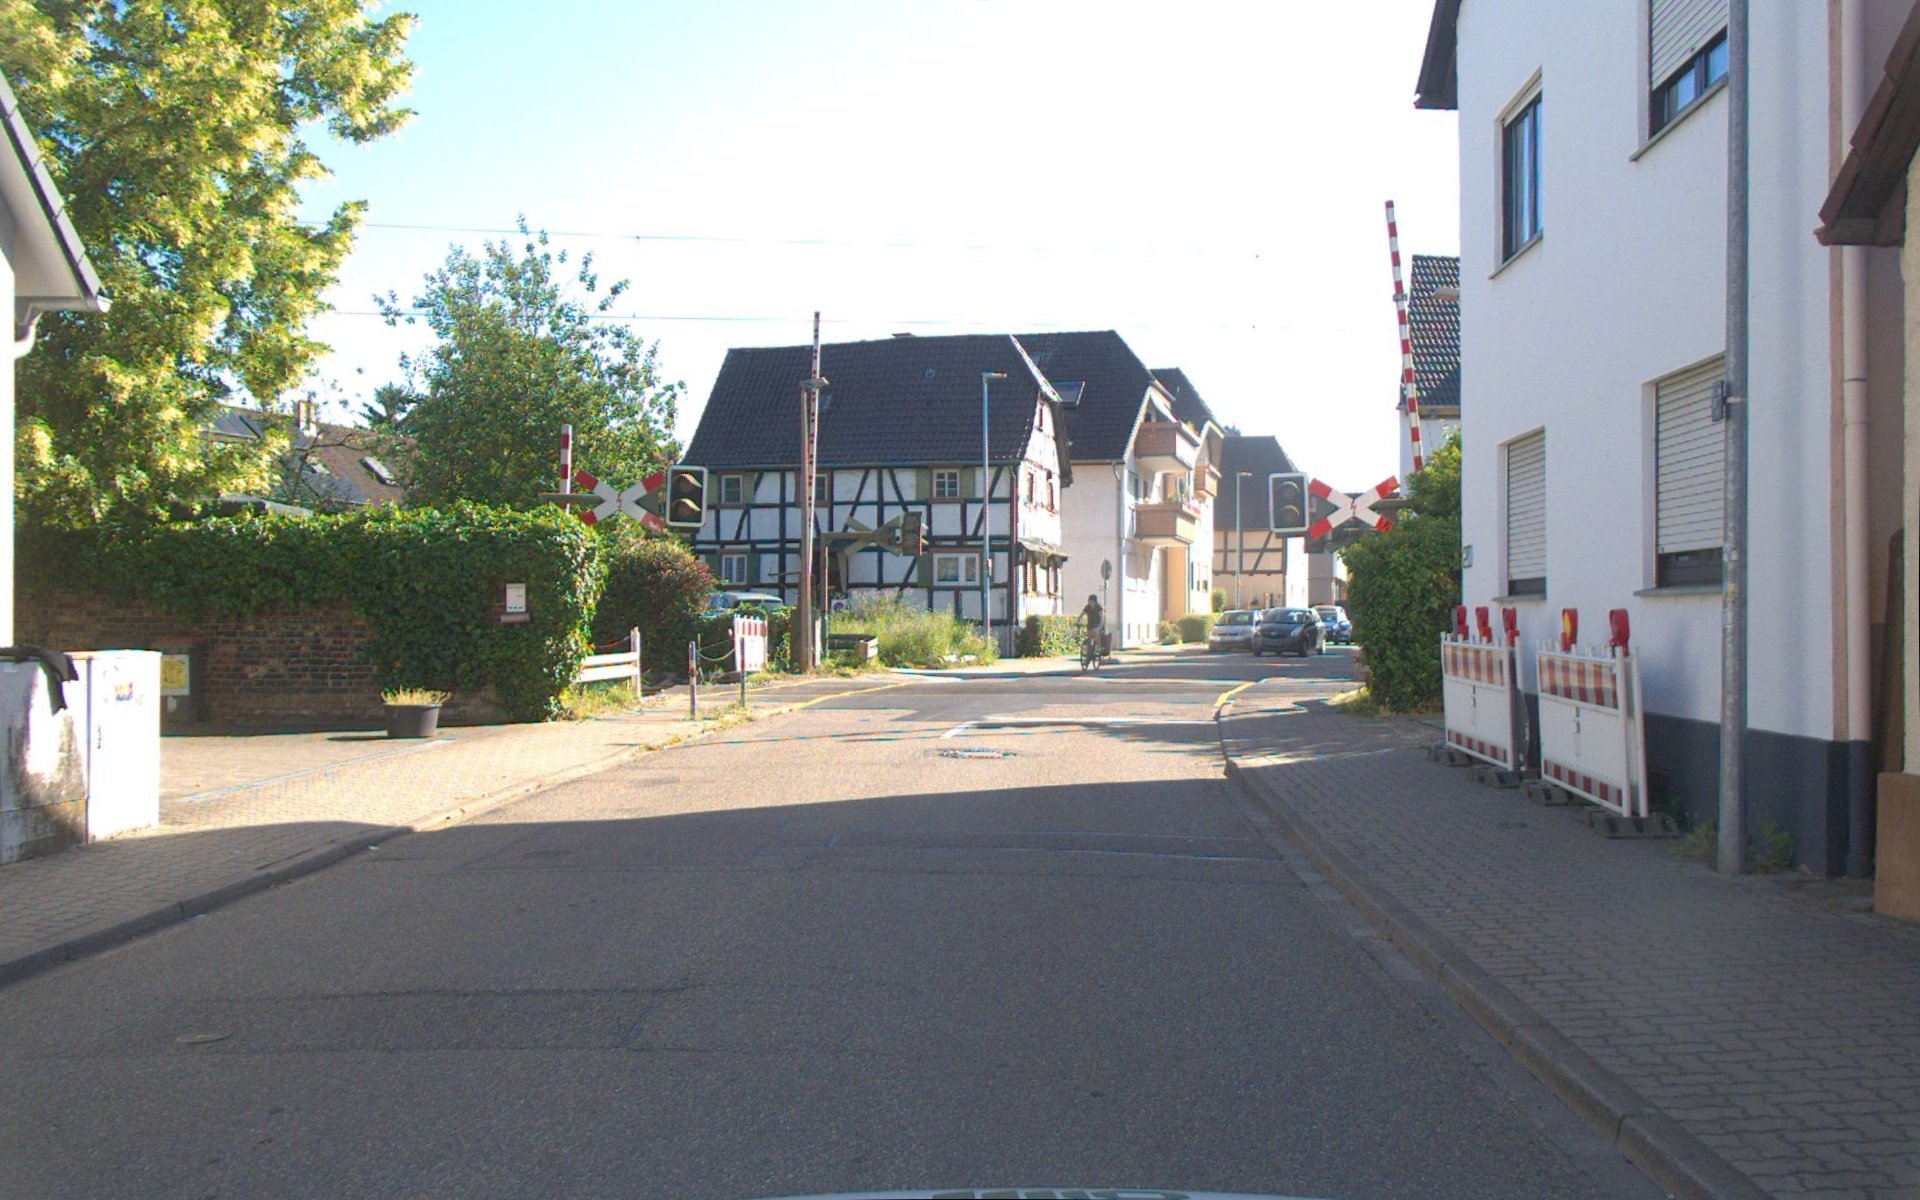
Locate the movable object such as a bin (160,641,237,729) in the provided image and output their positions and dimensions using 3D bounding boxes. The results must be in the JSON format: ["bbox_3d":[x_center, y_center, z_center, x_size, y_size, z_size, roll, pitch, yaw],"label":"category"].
[{"bbox_3d":[-8.399,0.932,18.261,0.578,0.950,0.508,0,-2,6],"label":"movable object such as a bin"}]

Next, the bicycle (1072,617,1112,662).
[{"bbox_3d":[3.106,0.933,38.967,0.865,1.023,2.063,-1,-1,3],"label":"bicycle"}]

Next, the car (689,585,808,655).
[{"bbox_3d":[-5.194,0.468,40.216,1.663,1.592,3.966,2,-1,-26],"label":"car"}]

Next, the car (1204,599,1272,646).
[{"bbox_3d":[9.928,0.771,58.876,1.597,1.532,3.853,-3,-1,21],"label":"car"}]

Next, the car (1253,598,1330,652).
[{"bbox_3d":[10.544,0.765,52.499,1.652,1.536,3.653,3,2,23],"label":"car"}]

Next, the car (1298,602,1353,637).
[{"bbox_3d":[15.940,0.858,71.986,1.605,1.466,4.073,-1,-1,23],"label":"car"}]

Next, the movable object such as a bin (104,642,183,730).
[{"bbox_3d":[-9.012,0.941,18.270,0.578,0.950,0.508,0,-2,6],"label":"movable object such as a bin"}]

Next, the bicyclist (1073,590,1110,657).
[{"bbox_3d":[3.107,0.560,39.031,0.830,1.568,0.873,-1,-2,3],"label":"bicyclist"}]
